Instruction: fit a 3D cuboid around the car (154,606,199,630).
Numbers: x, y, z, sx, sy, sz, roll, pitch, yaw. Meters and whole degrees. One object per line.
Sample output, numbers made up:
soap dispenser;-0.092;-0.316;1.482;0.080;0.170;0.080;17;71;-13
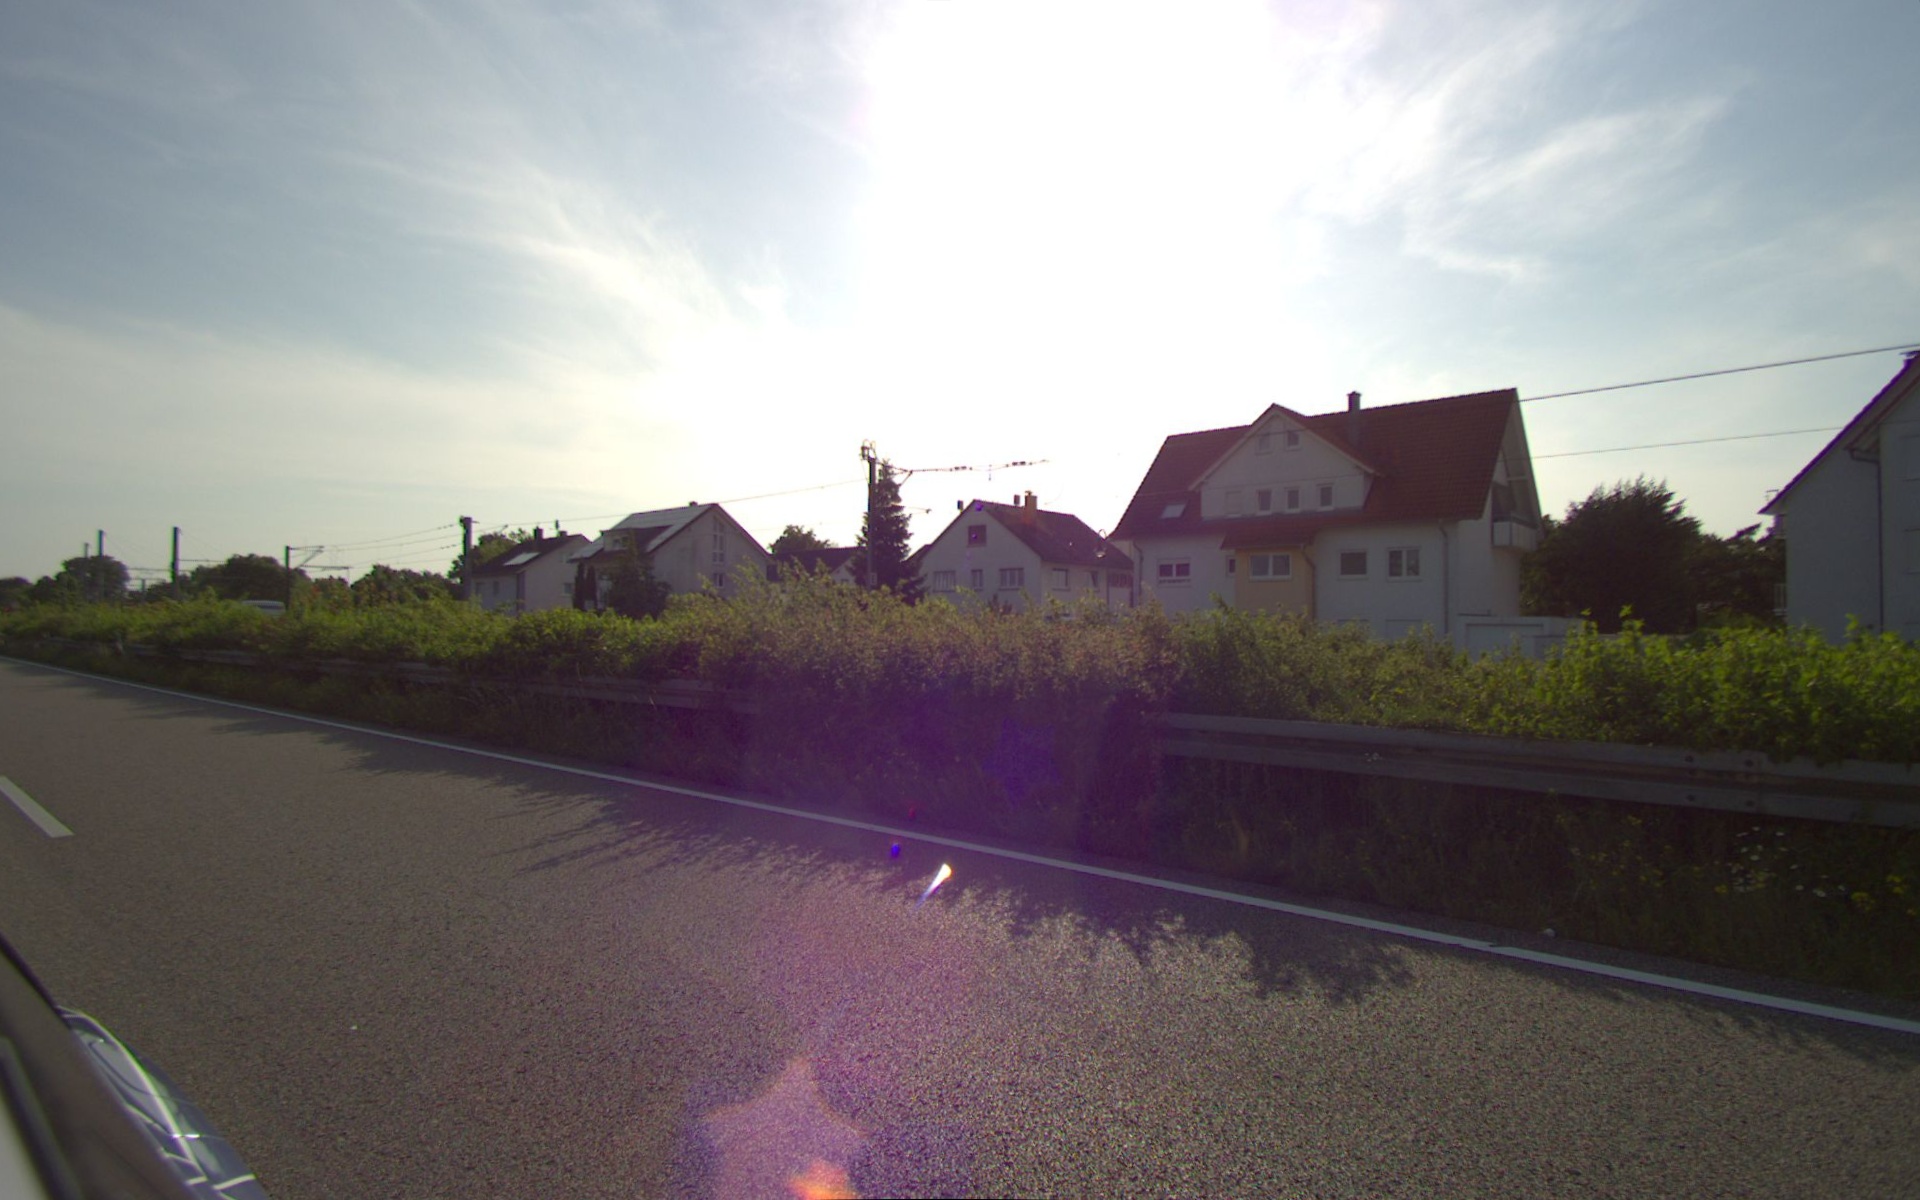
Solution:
car;-59.963;1.355;77.400;3.998;1.763;1.973;-1;0;41

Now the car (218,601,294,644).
car;-35.312;1.130;50.738;4.869;2.029;1.973;-1;0;41
